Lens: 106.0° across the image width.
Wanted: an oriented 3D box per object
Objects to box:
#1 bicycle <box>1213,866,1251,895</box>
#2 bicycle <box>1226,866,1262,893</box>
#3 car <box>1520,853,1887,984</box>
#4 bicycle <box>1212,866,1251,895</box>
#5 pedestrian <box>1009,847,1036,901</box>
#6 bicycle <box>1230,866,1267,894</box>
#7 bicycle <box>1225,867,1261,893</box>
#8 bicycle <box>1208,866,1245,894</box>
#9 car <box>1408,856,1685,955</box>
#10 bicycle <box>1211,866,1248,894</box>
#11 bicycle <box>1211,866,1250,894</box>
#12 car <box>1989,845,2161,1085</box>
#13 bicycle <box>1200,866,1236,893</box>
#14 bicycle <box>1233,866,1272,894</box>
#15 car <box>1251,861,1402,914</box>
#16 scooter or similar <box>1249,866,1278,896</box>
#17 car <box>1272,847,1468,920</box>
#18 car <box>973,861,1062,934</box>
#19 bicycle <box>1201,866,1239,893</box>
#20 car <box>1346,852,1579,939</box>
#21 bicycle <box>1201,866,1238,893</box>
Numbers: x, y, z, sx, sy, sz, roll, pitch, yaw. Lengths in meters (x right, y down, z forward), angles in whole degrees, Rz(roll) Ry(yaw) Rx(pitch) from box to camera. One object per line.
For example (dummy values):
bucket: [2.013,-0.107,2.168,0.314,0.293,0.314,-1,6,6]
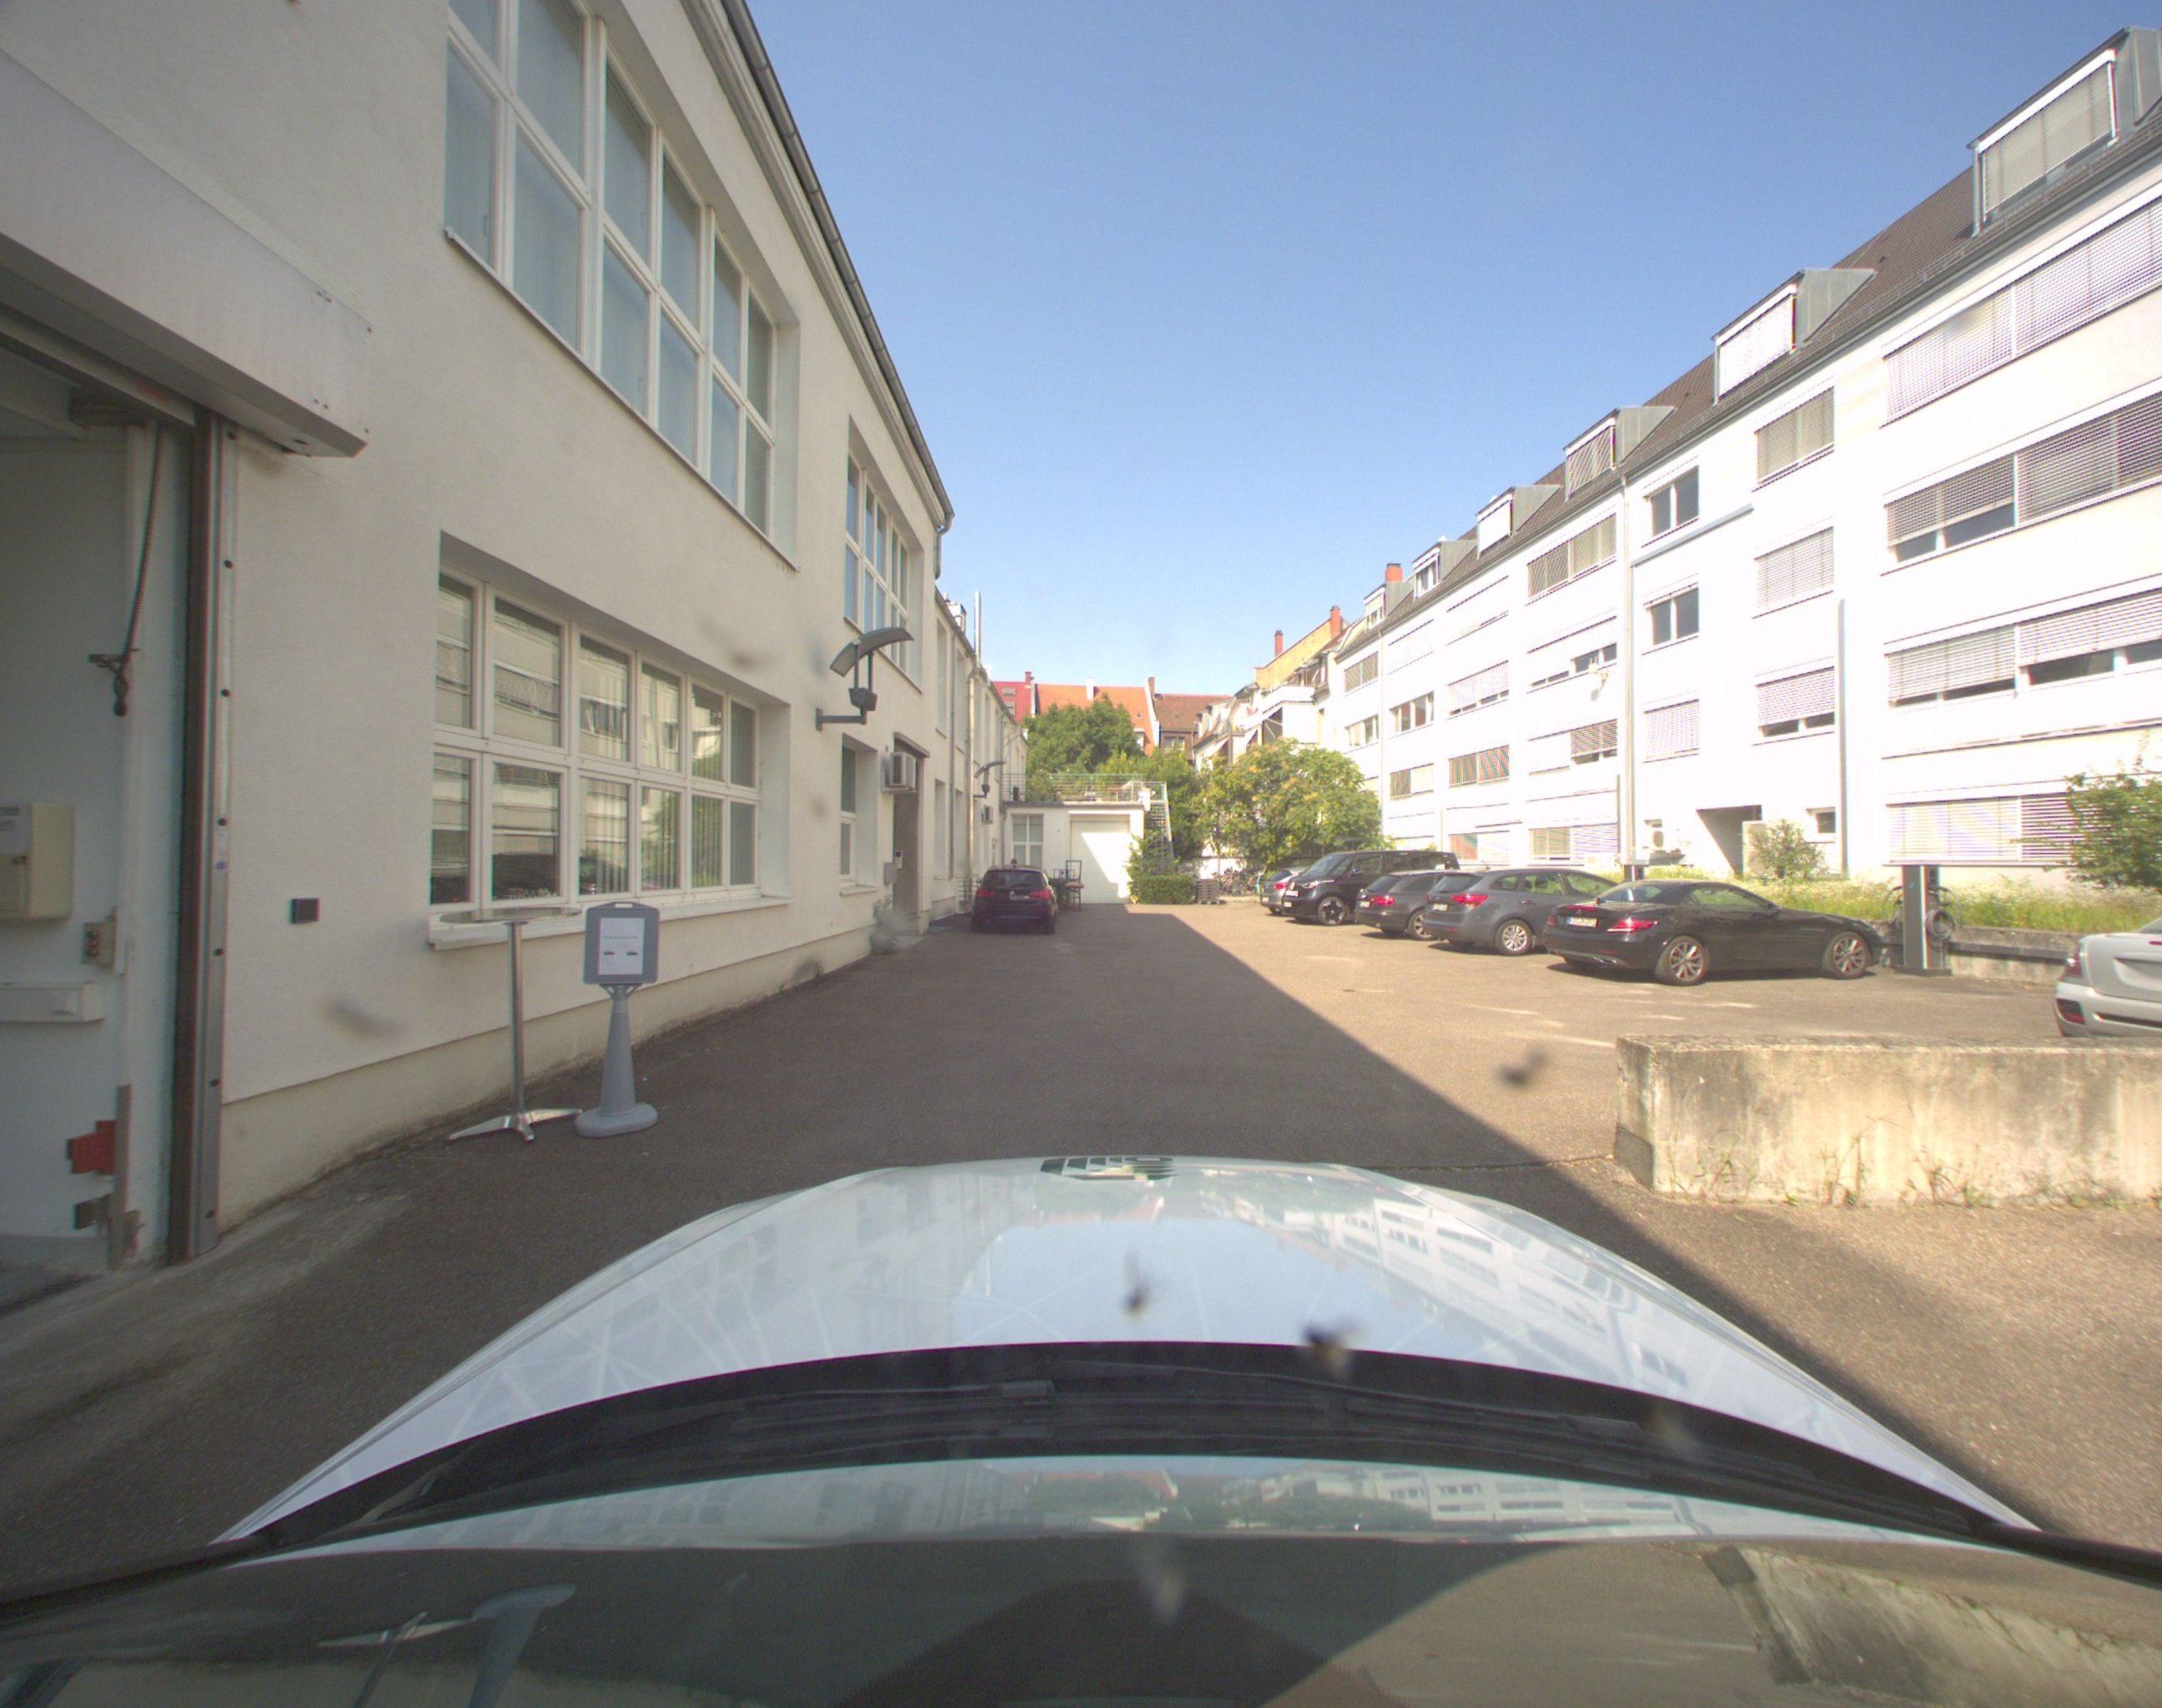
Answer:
bicycle: [6.531,1.136,35.249,1.616,1.214,0.327,-1,-1,2]
bicycle: [7.471,1.186,37.318,1.611,1.214,0.425,-1,-1,13]
car: [8.333,0.820,11.095,3.797,1.589,1.892,1,-1,-9]
bicycle: [6.457,1.129,34.929,1.616,1.214,0.327,-1,-1,2]
pedestrian: [-2.202,0.749,30.662,0.910,2.014,0.935,0,-1,1]
bicycle: [7.557,1.175,36.739,1.611,1.214,0.425,-1,-1,14]
bicycle: [7.640,1.207,38.341,1.611,1.214,0.425,-1,-1,13]
bicycle: [6.488,1.157,36.359,1.611,1.214,0.328,-1,-1,14]
car: [8.035,0.870,14.304,3.854,1.589,1.876,1,-1,-4]
bicycle: [6.557,1.151,35.993,1.612,1.214,0.328,-1,-1,11]
bicycle: [6.509,1.141,35.543,1.616,1.214,0.327,-1,-1,2]
car: [8.993,0.660,5.529,3.608,1.545,1.802,-4,-1,-1]
bicycle: [6.429,1.195,38.273,1.620,1.214,0.423,-1,-1,-4]
bicycle: [7.555,1.157,35.879,1.611,1.214,0.328,-1,-1,16]
car: [7.247,0.974,24.225,3.930,1.482,1.769,0,-2,-8]
scooter or similar: [7.778,1.141,34.665,0.381,1.261,1.335,0,-1,-30]
car: [7.505,0.759,21.339,4.498,1.794,1.878,0,-2,-8]
car: [-1.313,0.910,18.312,1.683,1.459,3.921,1,-1,0]
bicycle: [6.318,1.170,37.038,1.617,1.214,0.424,-1,-1,0]
car: [7.915,0.846,17.127,4.106,1.692,1.770,1,-1,-2]
bicycle: [6.418,1.183,37.671,1.620,1.214,0.423,-1,-1,-5]
